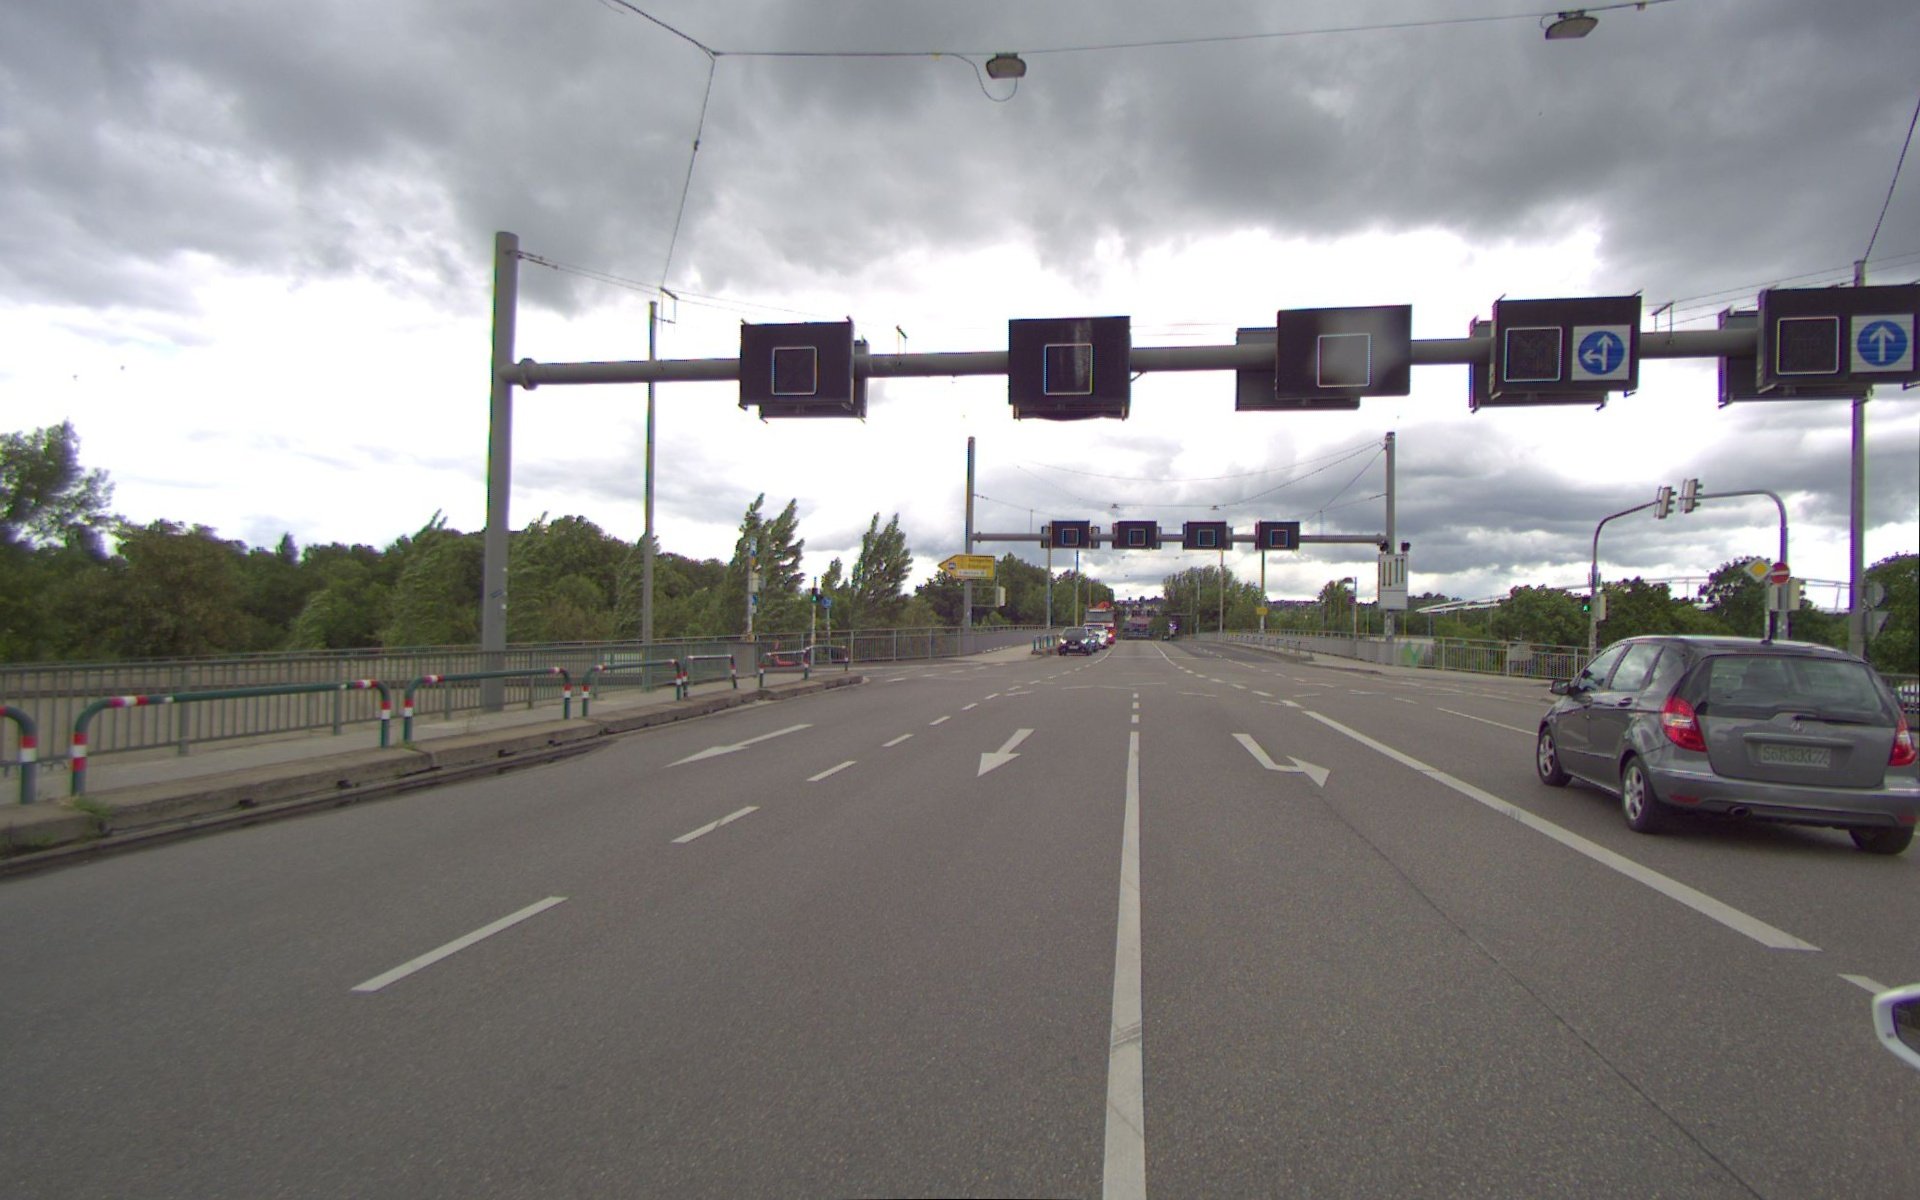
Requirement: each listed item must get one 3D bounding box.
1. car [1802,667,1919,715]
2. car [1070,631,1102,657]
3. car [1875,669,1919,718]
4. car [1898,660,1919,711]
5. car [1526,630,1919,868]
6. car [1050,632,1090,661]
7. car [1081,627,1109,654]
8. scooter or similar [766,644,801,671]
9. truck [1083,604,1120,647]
[{"bbox_3d":[31.930,3.178,34.703,4.069,1.439,1.697,3,-2,7],"label":"car"},{"bbox_3d":[7.751,2.675,61.588,1.804,1.524,4.520,0,-2,9],"label":"car"},{"bbox_3d":[28.323,2.717,28.051,3.688,1.330,1.792,3,-2,11],"label":"car"},{"bbox_3d":[31.245,2.717,30.366,3.927,1.559,1.697,3,-2,8],"label":"car"},{"bbox_3d":[6.553,1.095,8.940,1.716,1.571,3.873,2,-1,15],"label":"car"},{"bbox_3d":[6.069,2.512,55.152,1.804,1.524,3.874,0,-2,11],"label":"car"},{"bbox_3d":[9.464,2.808,70.201,1.847,1.784,4.806,0,-2,9],"label":"car"},{"bbox_3d":[-7.099,2.319,40.462,1.309,1.070,0.485,-1,-1,2],"label":"scooter or similar"},{"bbox_3d":[12.504,2.252,88.238,2.954,3.613,9.989,0,-2,9],"label":"truck"}]
